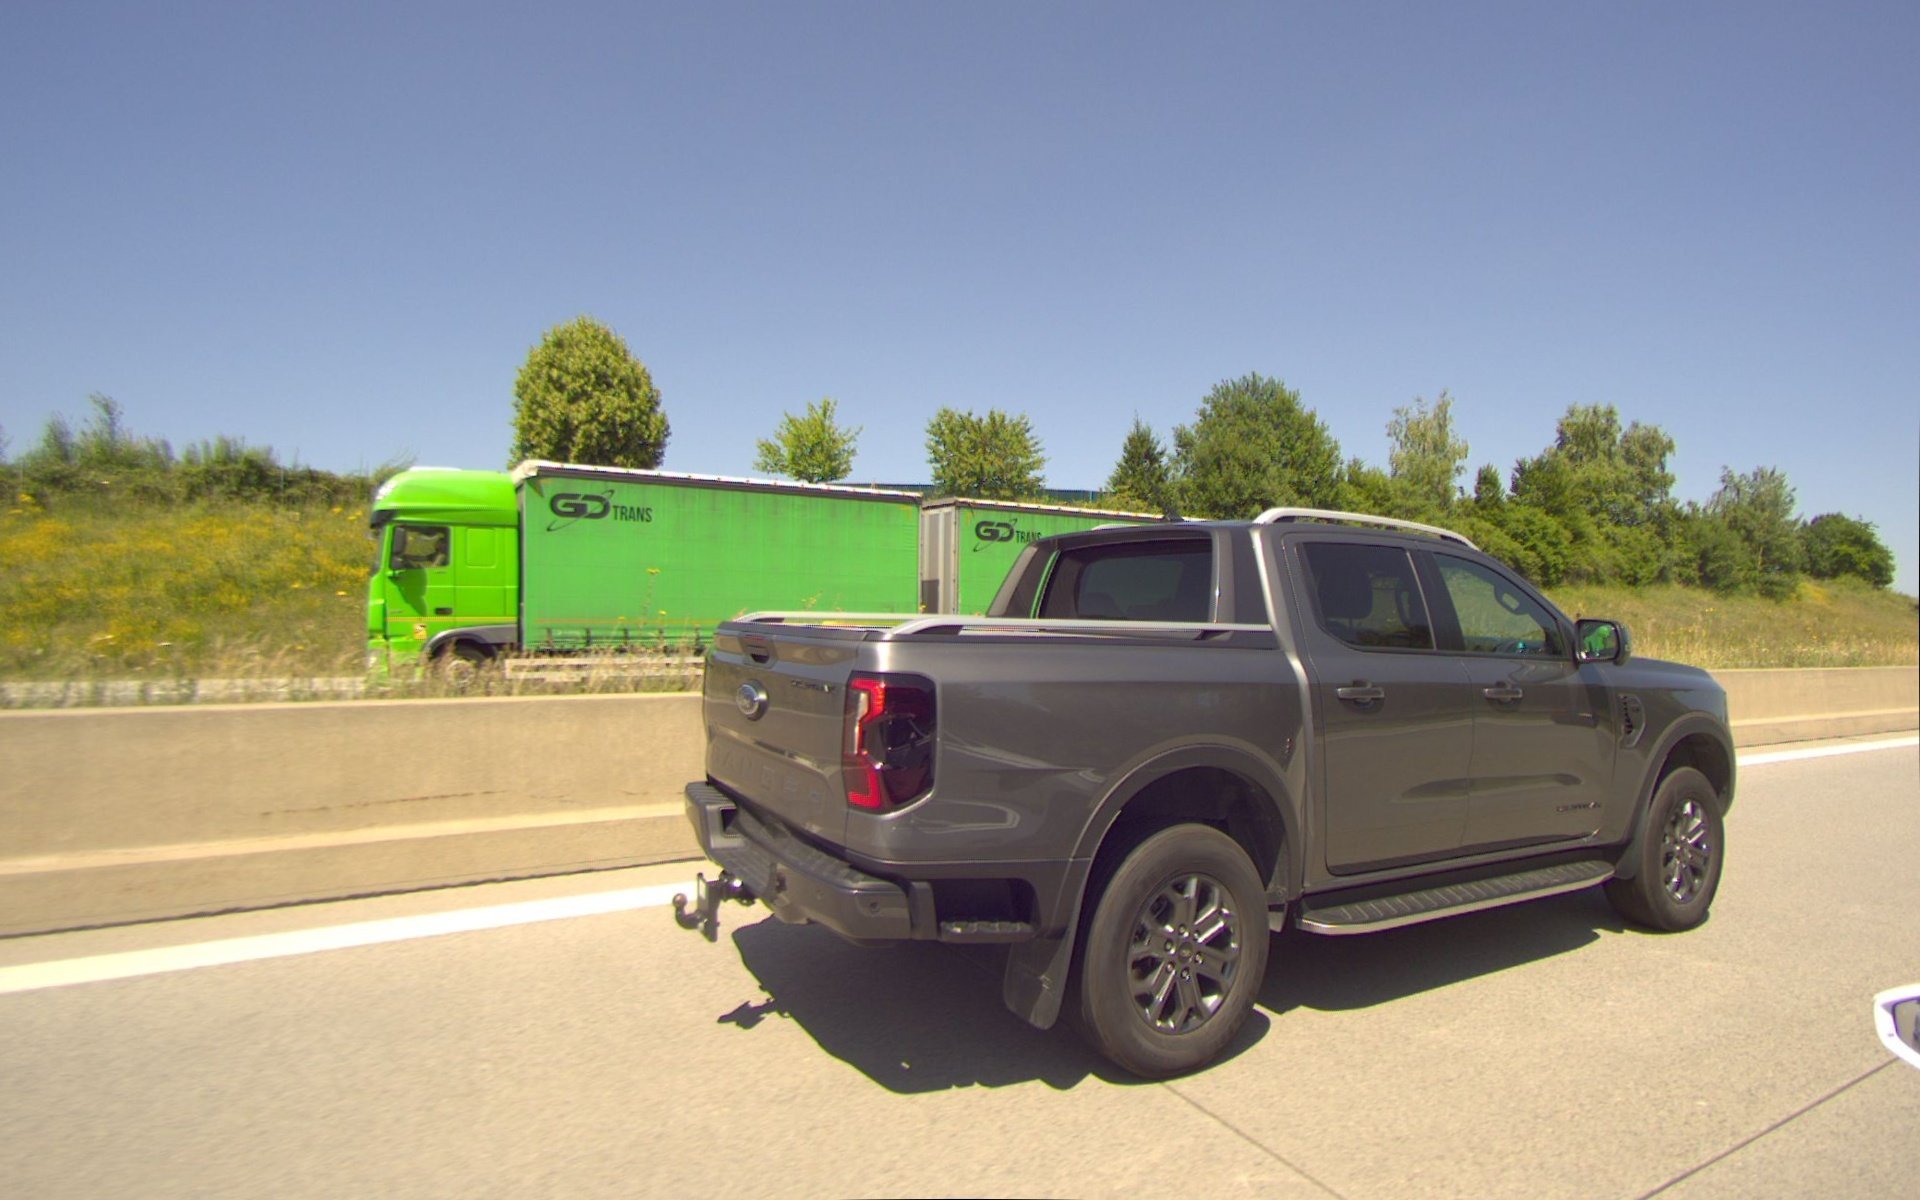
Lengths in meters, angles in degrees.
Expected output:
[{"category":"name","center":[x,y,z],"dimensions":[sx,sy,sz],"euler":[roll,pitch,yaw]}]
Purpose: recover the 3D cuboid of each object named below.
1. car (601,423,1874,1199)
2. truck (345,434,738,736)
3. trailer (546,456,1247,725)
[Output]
[{"category":"car","center":[1.830,0.576,4.850],"dimensions":[6.453,1.871,1.984],"euler":[1,0,-31]},{"category":"truck","center":[-7.637,-0.163,18.602],"dimensions":[6.192,4.724,3.075],"euler":[2,0,-30]},{"category":"trailer","center":[-0.489,0.009,22.899],"dimensions":[16.243,4.669,3.142],"euler":[1,0,-30]}]
